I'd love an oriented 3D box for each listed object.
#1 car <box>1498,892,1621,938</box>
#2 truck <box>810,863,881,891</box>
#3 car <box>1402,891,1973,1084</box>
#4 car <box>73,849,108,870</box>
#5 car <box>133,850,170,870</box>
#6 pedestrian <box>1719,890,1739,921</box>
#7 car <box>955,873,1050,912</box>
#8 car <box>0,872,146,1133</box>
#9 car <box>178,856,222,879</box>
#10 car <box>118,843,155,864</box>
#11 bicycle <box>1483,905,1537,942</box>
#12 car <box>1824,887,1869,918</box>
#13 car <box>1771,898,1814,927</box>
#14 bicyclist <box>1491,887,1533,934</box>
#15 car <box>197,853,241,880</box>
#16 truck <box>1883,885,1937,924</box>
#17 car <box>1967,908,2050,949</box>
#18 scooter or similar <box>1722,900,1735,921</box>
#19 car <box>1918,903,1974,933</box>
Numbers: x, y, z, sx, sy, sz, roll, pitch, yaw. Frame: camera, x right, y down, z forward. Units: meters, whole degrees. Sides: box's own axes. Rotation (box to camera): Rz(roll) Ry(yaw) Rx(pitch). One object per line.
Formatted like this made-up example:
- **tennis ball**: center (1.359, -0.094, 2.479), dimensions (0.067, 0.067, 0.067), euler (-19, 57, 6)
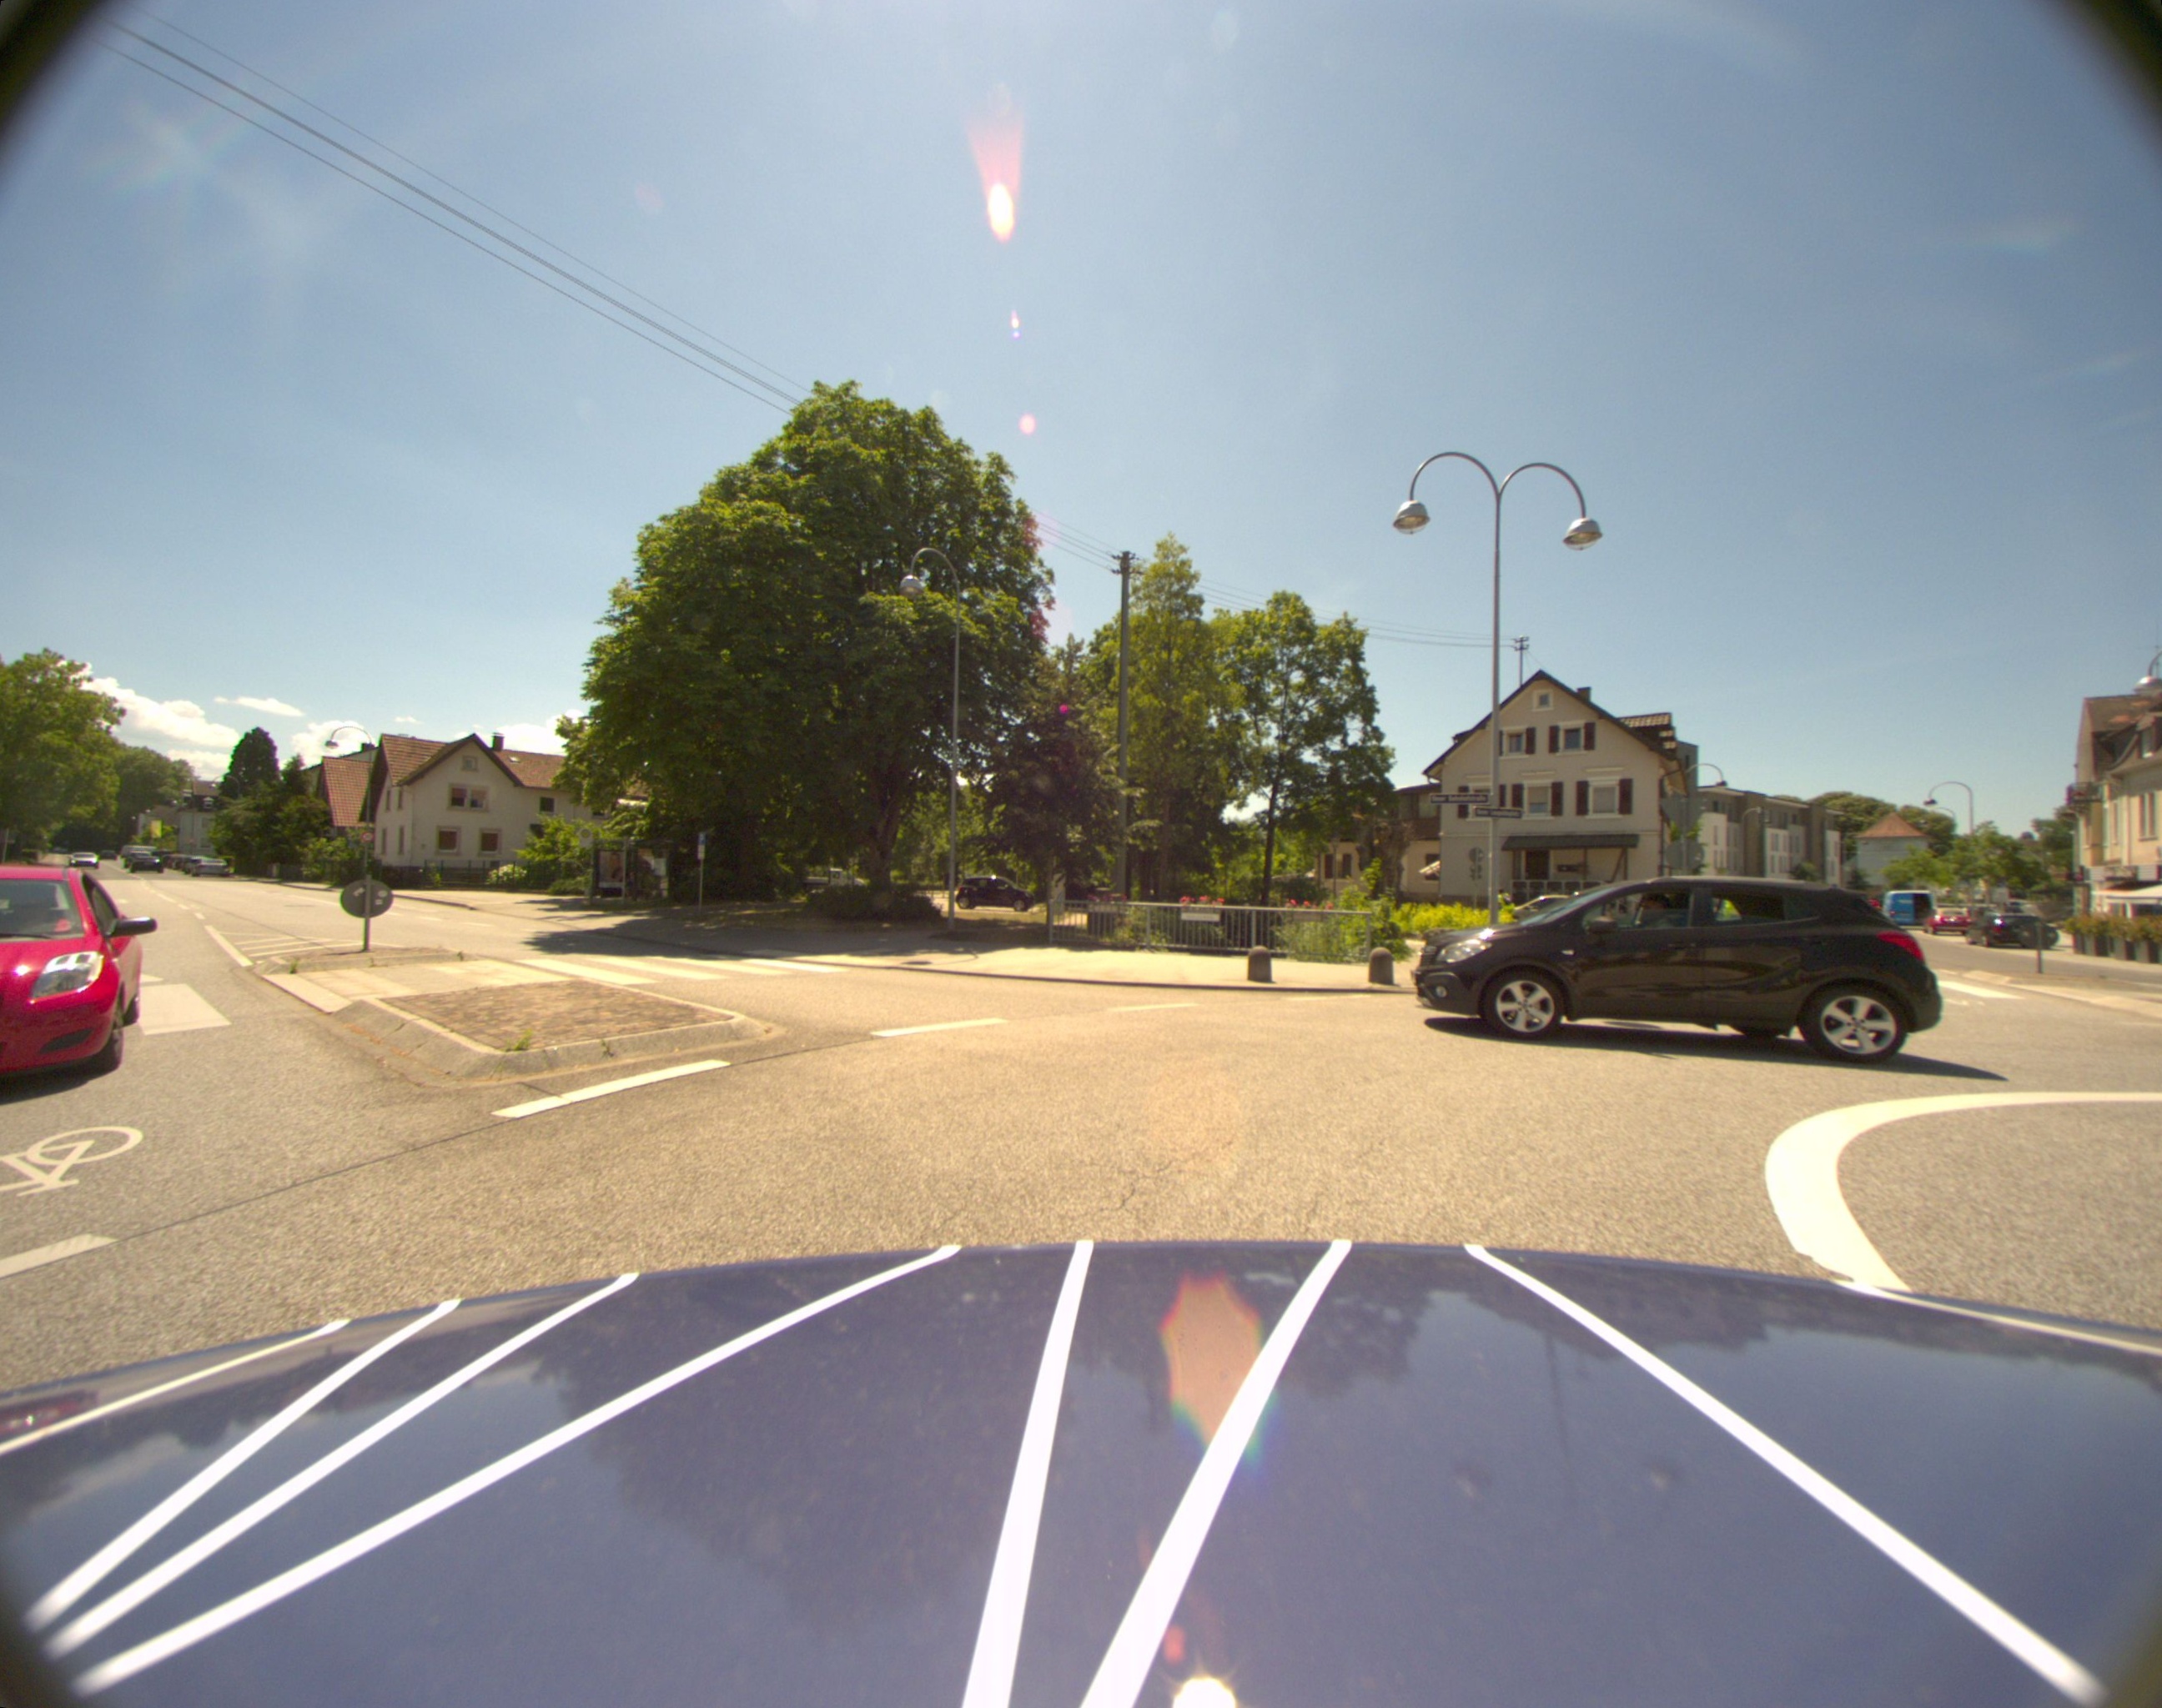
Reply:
- **car**: center (19.720, 2.465, 31.398), dimensions (3.988, 1.586, 1.799), euler (2, -2, 41)
- **truck**: center (-22.322, 2.199, 72.017), dimensions (6.225, 2.427, 2.262), euler (2, -4, -21)
- **car**: center (5.698, 1.215, 7.887), dimensions (4.158, 1.552, 2.004), euler (0, -4, 16)
- **car**: center (-101.577, 0.602, 77.928), dimensions (3.989, 2.000, 2.005), euler (-2, -4, 36)
- **car**: center (-84.368, 0.609, 68.973), dimensions (3.989, 1.695, 1.744), euler (-2, -2, 34)
- **pedestrian**: center (43.601, 3.438, 51.096), dimensions (0.902, 2.018, 0.918), euler (2, -1, -45)
- **car**: center (-3.548, 1.738, 34.717), dimensions (3.995, 1.591, 1.844), euler (2, -1, 6)
- **car**: center (-8.426, 0.952, 5.580), dimensions (3.988, 1.524, 1.838), euler (0, 1, 40)
- **car**: center (-80.990, 1.265, 69.841), dimensions (3.989, 2.000, 2.005), euler (-2, -4, 33)
- **car**: center (-99.325, -0.032, 79.891), dimensions (3.989, 2.000, 2.005), euler (-2, -4, 33)
- **bicycle**: center (15.949, 2.582, 28.310), dimensions (0.810, 1.149, 1.852), euler (5, 0, -2)
- **car**: center (57.237, 3.627, 56.782), dimensions (4.460, 2.095, 1.925), euler (3, 0, -40)
- **car**: center (40.782, 3.338, 43.597), dimensions (1.750, 1.536, 3.603), euler (-2, -3, 42)
- **bicyclist**: center (16.004, 2.090, 28.246), dimensions (0.810, 1.625, 1.062), euler (5, 0, 1)
- **car**: center (-72.063, 1.077, 63.511), dimensions (3.989, 2.000, 2.005), euler (-2, -4, 36)
- **truck**: center (53.123, 3.202, 48.781), dimensions (1.956, 2.355, 4.347), euler (-2, -3, 43)
- **car**: center (39.457, 3.134, 32.410), dimensions (1.679, 1.536, 3.956), euler (-2, -3, 43)
- **scooter or similar**: center (43.562, 3.772, 51.083), dimensions (1.350, 1.365, 0.526), euler (2, -1, -45)
- **car**: center (48.482, 3.550, 42.623), dimensions (1.679, 1.536, 3.602), euler (-2, -3, 43)
